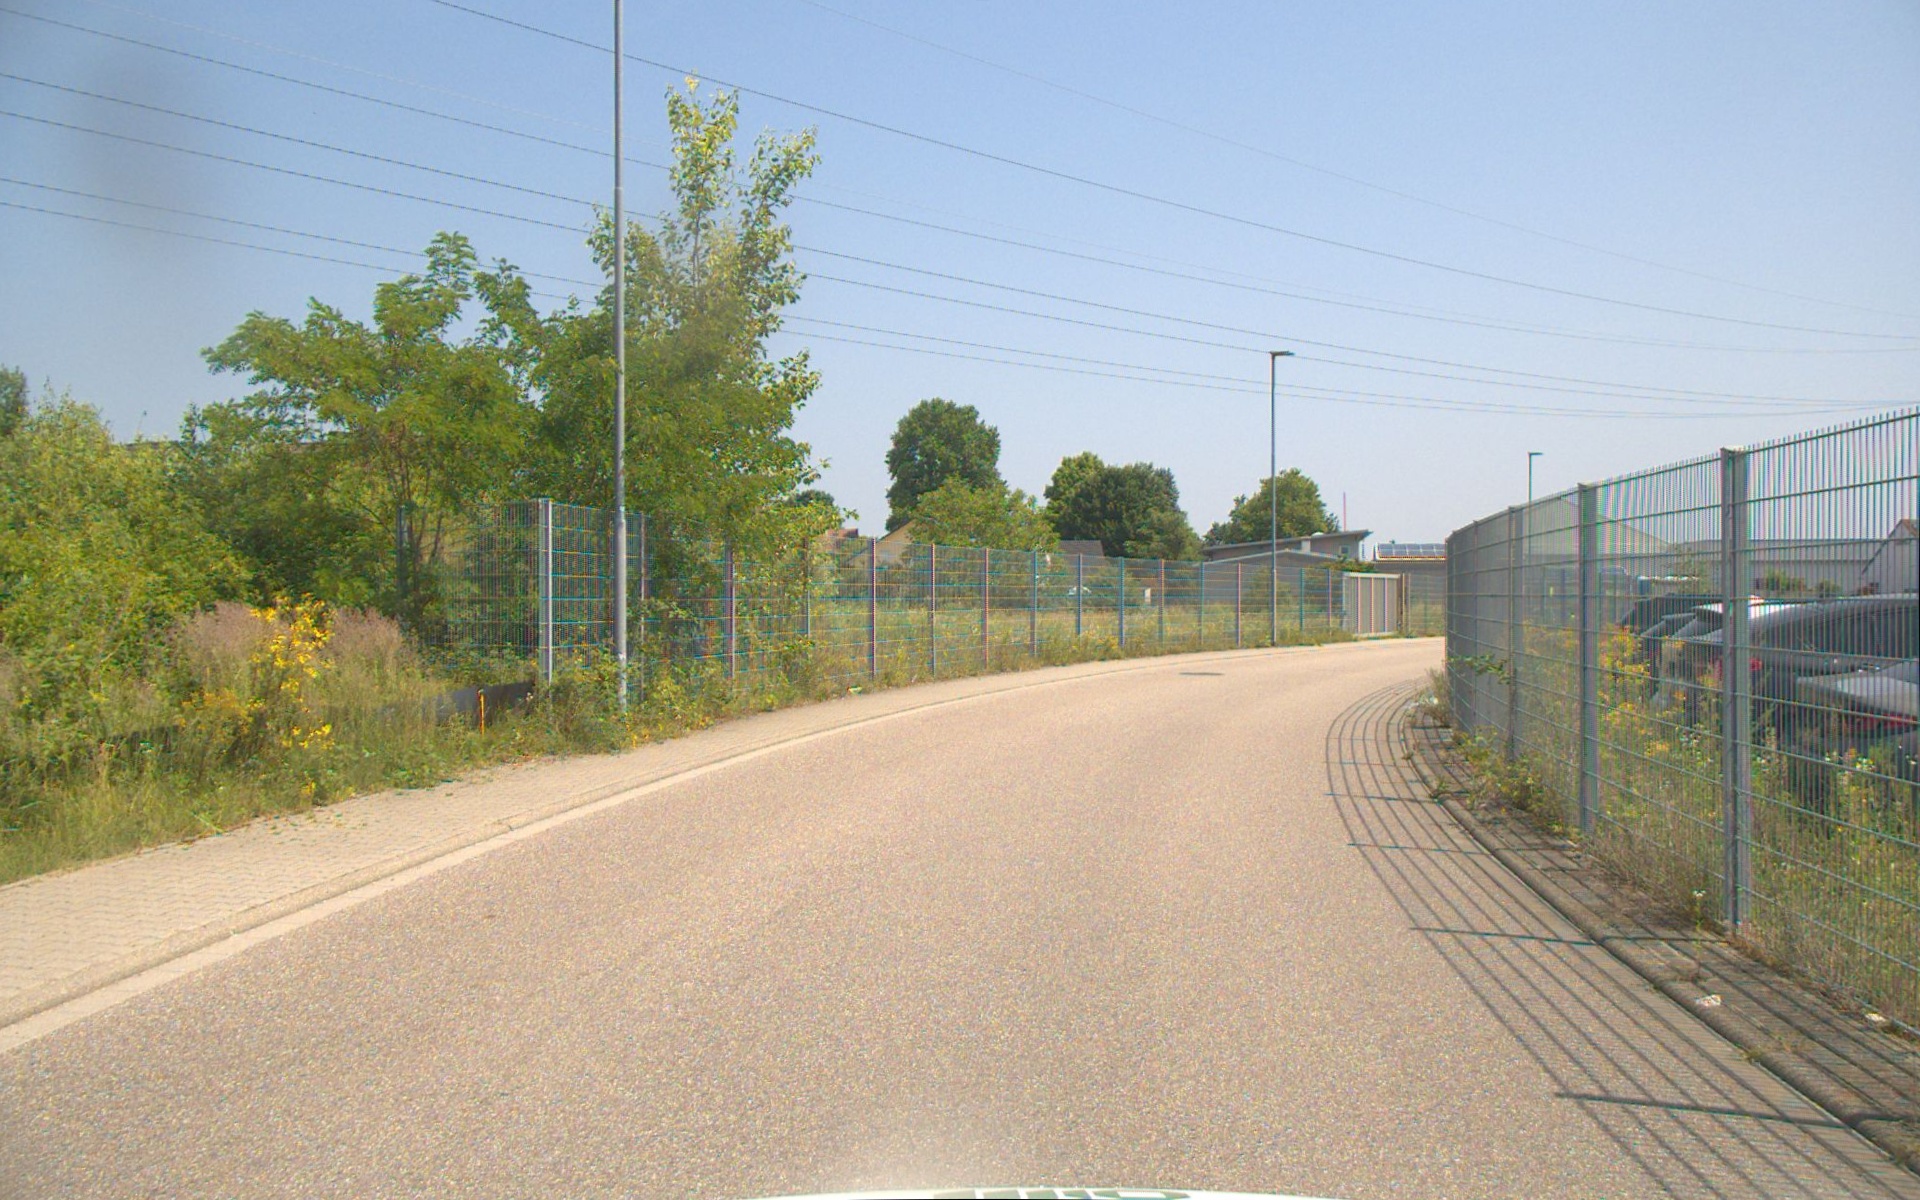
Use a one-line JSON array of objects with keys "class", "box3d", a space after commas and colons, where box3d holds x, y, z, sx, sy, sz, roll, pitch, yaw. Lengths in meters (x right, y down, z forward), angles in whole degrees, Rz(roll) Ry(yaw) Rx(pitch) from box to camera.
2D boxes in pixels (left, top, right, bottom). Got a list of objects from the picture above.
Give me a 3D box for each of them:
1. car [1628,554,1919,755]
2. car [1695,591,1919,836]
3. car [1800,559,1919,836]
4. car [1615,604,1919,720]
[{"class": "car", "box3d": [8.253, 0.453, 14.852, 4.034, 1.699, 1.724, 0, 0, 17]}, {"class": "car", "box3d": [7.872, 0.784, 12.089, 4.375, 1.699, 1.724, 0, 0, 17]}, {"class": "car", "box3d": [7.716, 0.542, 10.022, 4.374, 1.610, 1.797, 0, 0, 14]}, {"class": "car", "box3d": [12.764, 0.916, 26.165, 4.205, 1.666, 1.760, 0, 0, 34]}]
